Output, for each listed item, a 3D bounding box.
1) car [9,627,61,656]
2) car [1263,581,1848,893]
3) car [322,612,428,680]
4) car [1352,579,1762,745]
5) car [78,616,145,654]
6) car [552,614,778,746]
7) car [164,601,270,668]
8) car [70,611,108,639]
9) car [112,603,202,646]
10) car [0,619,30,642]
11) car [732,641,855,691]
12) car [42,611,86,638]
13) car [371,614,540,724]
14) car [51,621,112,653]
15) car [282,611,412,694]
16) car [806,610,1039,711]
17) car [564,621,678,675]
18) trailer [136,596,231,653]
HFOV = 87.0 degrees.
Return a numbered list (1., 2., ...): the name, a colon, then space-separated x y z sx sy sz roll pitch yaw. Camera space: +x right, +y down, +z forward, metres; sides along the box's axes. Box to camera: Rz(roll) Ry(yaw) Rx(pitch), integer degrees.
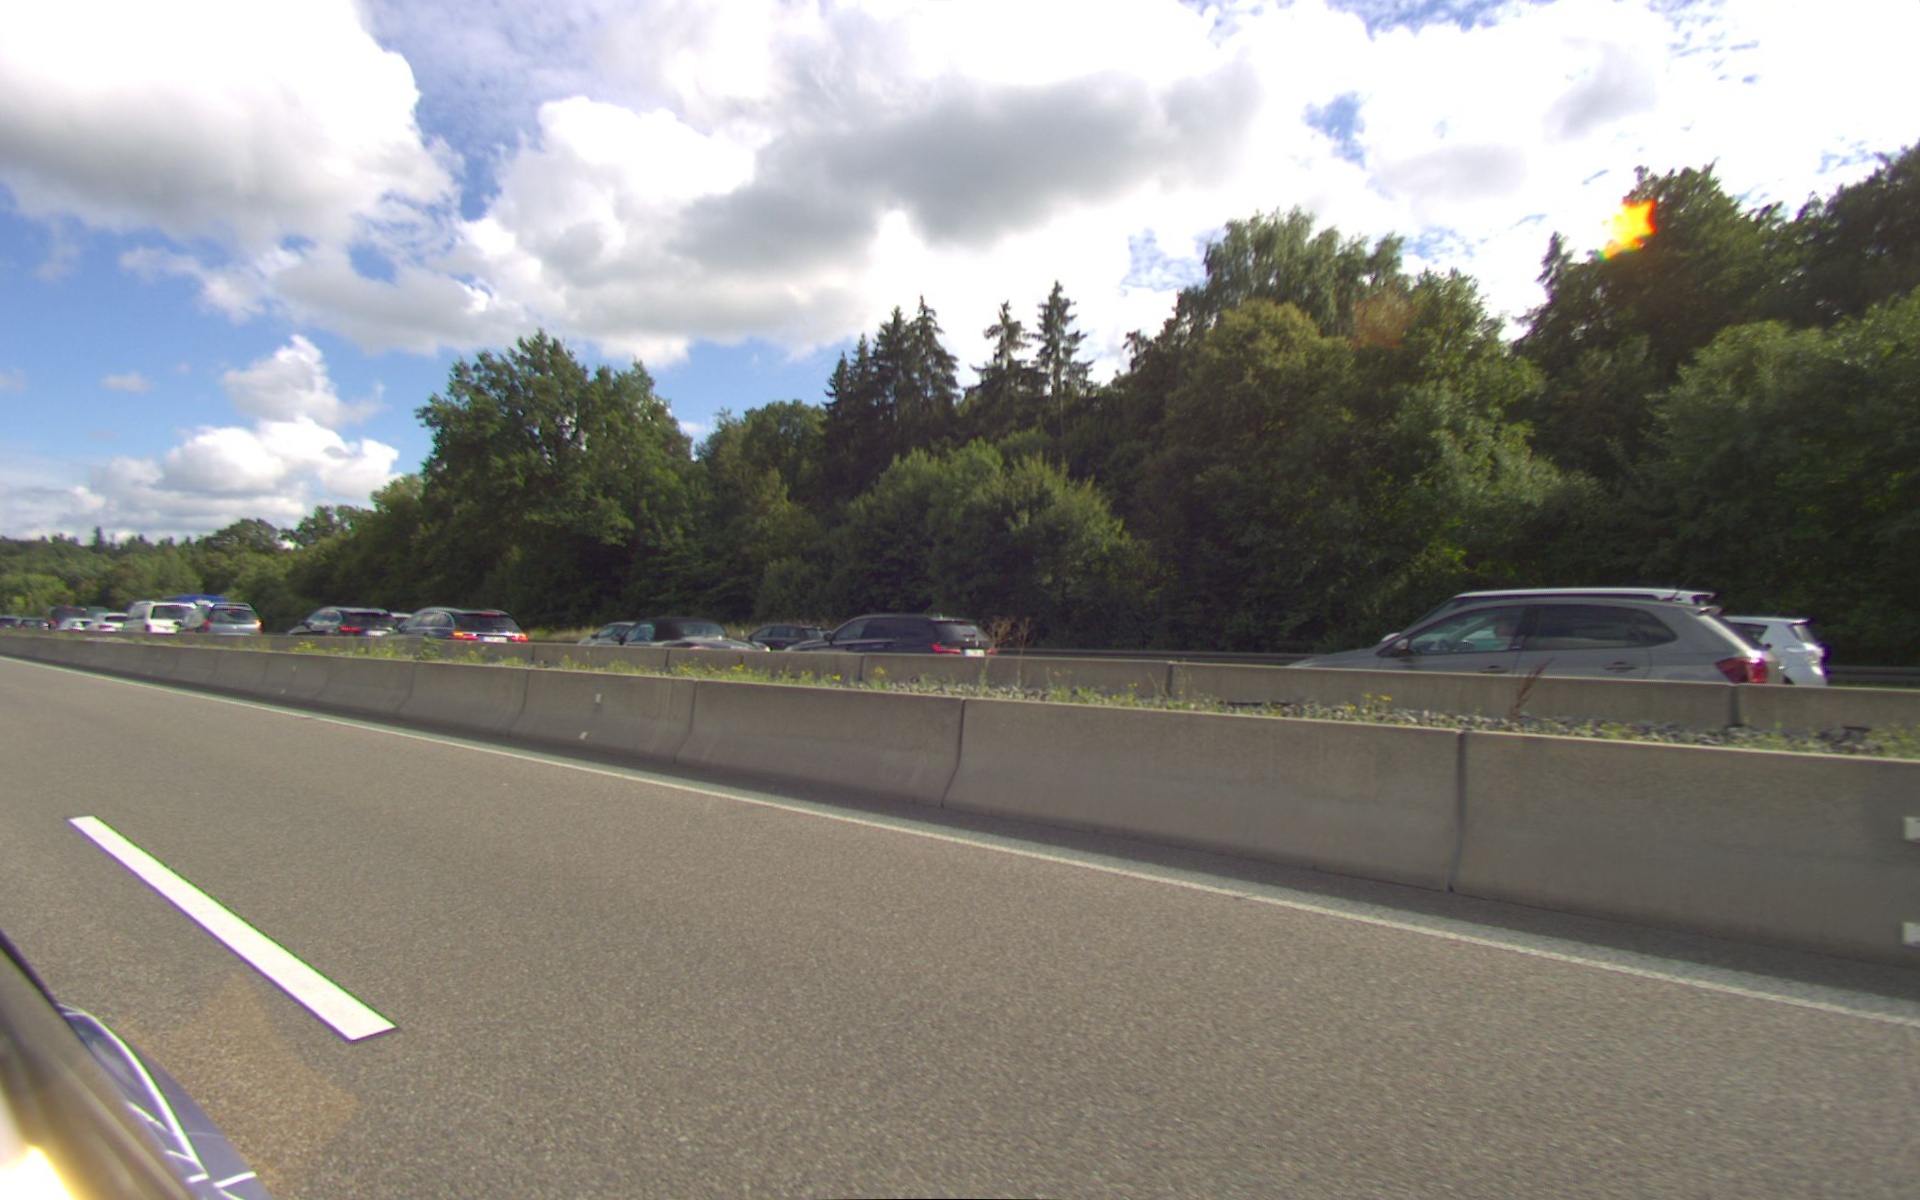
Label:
1. car: -55.142 2.450 60.322 3.510 1.584 1.972 -1 0 42
2. car: 4.916 0.860 8.665 4.000 2.029 1.972 1 1 42
3. car: -19.665 1.486 33.972 4.000 2.029 1.972 1 1 42
4. car: 8.520 0.715 14.759 4.853 2.029 1.972 1 1 42
5. car: -38.687 1.578 46.118 4.356 1.584 1.747 -1 0 42
6. car: -4.961 1.192 16.763 4.000 1.807 1.799 1 1 42
7. car: -25.393 1.109 34.541 4.675 2.029 1.973 1 1 41
8. car: -78.642 2.248 91.334 5.328 2.391 1.972 -1 0 42
9. car: -32.467 0.971 40.869 5.328 1.584 1.972 -1 1 42
10. car: -69.572 2.244 73.886 5.206 1.584 1.972 -1 0 42
11. car: -5.344 2.053 32.218 3.998 1.466 1.738 -1 -2 42
12. car: -70.637 1.921 79.764 5.844 2.047 1.972 -1 0 42
13. car: -10.945 1.377 21.843 4.000 2.029 1.972 1 1 42
14. car: -46.687 1.926 53.750 4.356 1.584 1.972 -1 0 42
15. car: -17.356 1.388 28.569 4.547 2.029 1.972 1 1 42
16. car: -0.741 1.005 17.919 3.999 1.586 1.820 -1 -2 42
17. car: -10.977 1.496 32.637 3.999 1.466 1.738 1 1 42
18. trailer: -41.391 1.277 53.832 8.535 2.807 2.256 -1 0 40
